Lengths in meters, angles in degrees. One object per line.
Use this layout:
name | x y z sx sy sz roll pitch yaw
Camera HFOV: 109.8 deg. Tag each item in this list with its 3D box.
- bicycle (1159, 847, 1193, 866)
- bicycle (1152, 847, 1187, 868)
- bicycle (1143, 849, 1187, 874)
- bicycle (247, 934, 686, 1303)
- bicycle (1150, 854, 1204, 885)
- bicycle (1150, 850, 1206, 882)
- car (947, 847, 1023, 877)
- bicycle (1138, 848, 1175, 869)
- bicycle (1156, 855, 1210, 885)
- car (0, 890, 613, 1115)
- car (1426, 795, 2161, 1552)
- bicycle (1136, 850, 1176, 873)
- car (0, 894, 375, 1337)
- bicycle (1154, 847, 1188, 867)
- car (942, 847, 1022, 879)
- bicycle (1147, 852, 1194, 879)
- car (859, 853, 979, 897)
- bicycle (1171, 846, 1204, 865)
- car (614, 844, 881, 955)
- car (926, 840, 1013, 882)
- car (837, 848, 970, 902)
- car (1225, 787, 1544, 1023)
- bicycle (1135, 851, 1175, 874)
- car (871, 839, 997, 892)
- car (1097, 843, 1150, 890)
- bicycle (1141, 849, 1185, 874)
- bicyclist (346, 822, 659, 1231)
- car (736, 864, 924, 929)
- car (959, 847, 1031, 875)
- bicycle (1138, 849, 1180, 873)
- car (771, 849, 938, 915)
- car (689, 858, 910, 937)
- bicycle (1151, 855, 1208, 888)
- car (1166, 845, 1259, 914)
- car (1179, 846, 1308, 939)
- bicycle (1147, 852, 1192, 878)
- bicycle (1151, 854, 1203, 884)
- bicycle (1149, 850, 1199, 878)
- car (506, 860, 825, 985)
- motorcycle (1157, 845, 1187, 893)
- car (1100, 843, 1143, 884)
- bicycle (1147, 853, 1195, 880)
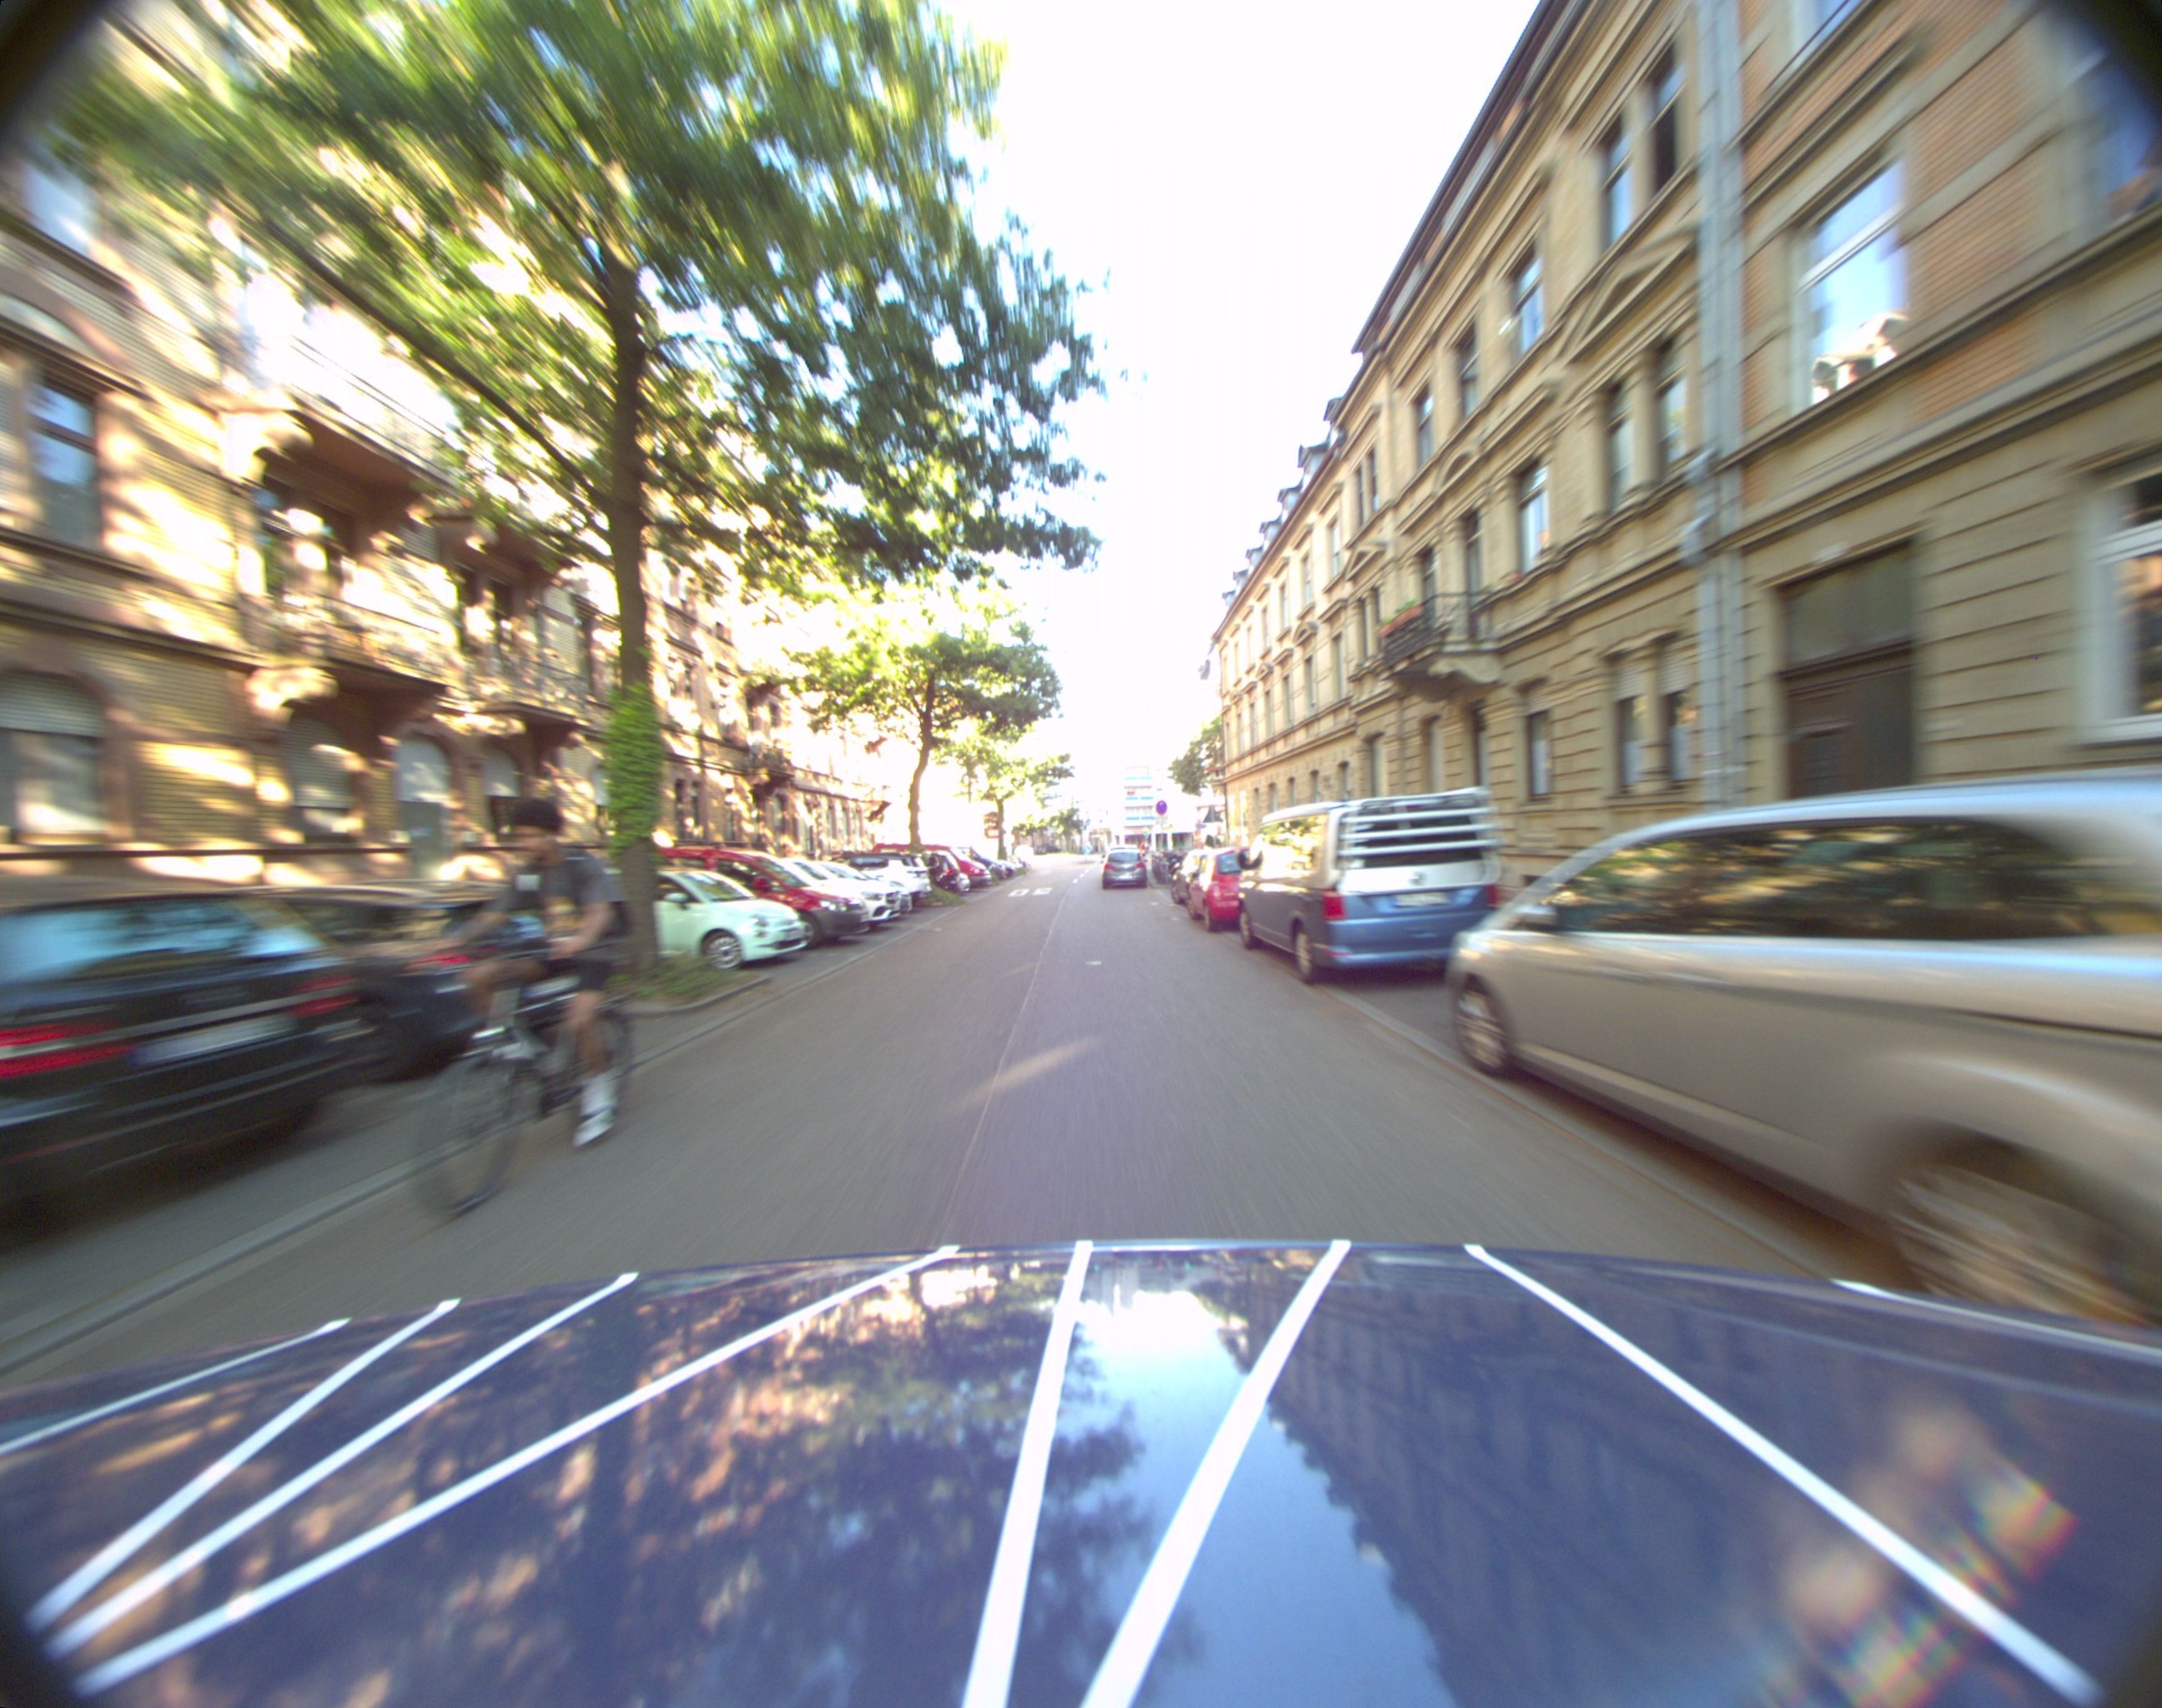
bicycle | 6.072 0.148 48.425 2.042 1.092 0.500 -4 1 10
bicycle | 5.342 0.210 45.876 2.042 1.092 0.500 -4 1 9
bicycle | 4.053 0.349 36.870 2.043 1.092 0.499 -4 1 2
bicycle | -2.964 1.168 4.007 0.712 1.253 1.887 -2 1 0
bicycle | 3.790 0.625 30.088 2.043 1.092 0.499 -4 1 2
bicycle | 3.768 0.469 29.512 2.043 1.092 0.587 -4 1 2
car | -5.437 0.455 43.504 4.057 1.521 1.781 2 1 1
bicycle | 4.427 0.273 44.699 2.043 1.092 0.499 -4 1 2
bicycle | 4.110 0.636 30.628 2.043 1.092 0.587 -4 1 2
car | -6.245 1.071 6.125 3.844 1.452 1.738 0 1 -1
car | 3.238 0.656 3.023 1.771 1.648 4.157 -4 1 0
bicycle | 4.052 0.392 40.947 2.043 1.092 0.499 -4 1 2
car | -6.230 1.028 3.506 4.243 1.579 1.738 0 1 -1
bicycle | 5.589 0.183 47.163 2.042 1.092 0.500 -4 1 10
car | -5.345 0.477 41.350 4.057 1.521 1.781 2 1 1
bicycle | 4.084 0.540 34.837 2.043 1.092 0.499 -4 1 2
car | -5.990 0.746 28.458 4.057 1.447 1.781 2 1 1
bicycle | 6.926 0.097 49.607 2.041 1.092 0.500 -4 1 13
car | -5.937 0.760 13.860 4.056 1.876 1.781 0 1 2
car | -5.600 0.334 38.467 4.057 1.922 1.780 2 1 1
car | -5.959 0.687 25.821 4.056 1.612 1.781 2 1 1
car | 3.237 0.445 9.340 1.947 2.045 4.744 -4 1 0
bicycle | 4.037 0.474 41.492 2.043 1.092 0.499 -4 1 2
car | -5.939 0.437 31.131 4.699 1.966 1.925 2 1 1
car | 1.657 0.443 30.174 1.868 1.620 3.825 -4 1 2
bicycle | 4.044 0.364 37.551 2.043 1.092 0.499 -4 1 2
bicyclist | -2.964 0.790 4.048 0.712 1.865 1.120 -2 1 0
car | -6.120 1.012 18.875 4.056 1.473 1.781 0 1 2
car | -5.145 0.379 45.899 4.057 1.521 1.781 2 1 1
bicycle | 3.988 0.351 38.926 2.043 1.092 0.499 -4 1 2
car | -6.223 0.753 21.160 4.056 1.612 1.781 2 1 1
car | -5.920 0.883 16.293 4.056 1.571 1.781 0 1 2
bicycle | 3.742 0.657 28.925 2.043 1.092 0.587 -4 1 2
car | 3.253 0.567 19.435 1.641 1.482 3.824 -4 1 0
car | 3.016 0.635 14.873 1.641 1.482 3.824 -4 1 0
bicycle | 4.187 0.531 36.046 2.043 1.092 0.499 -4 1 2
bicycle | 3.931 0.628 31.281 2.043 1.092 0.499 -4 1 2
bicycle | 3.990 0.423 32.682 2.043 1.092 0.499 -4 1 2
car | -6.070 0.956 11.414 3.843 1.673 1.738 0 1 2
motorcycle | 3.019 0.458 25.438 0.624 1.482 2.489 -4 1 0
car | 1.797 0.371 34.368 1.745 1.630 3.825 -4 1 2
bicycle | 4.029 0.564 34.213 2.043 1.092 0.499 -4 1 2
